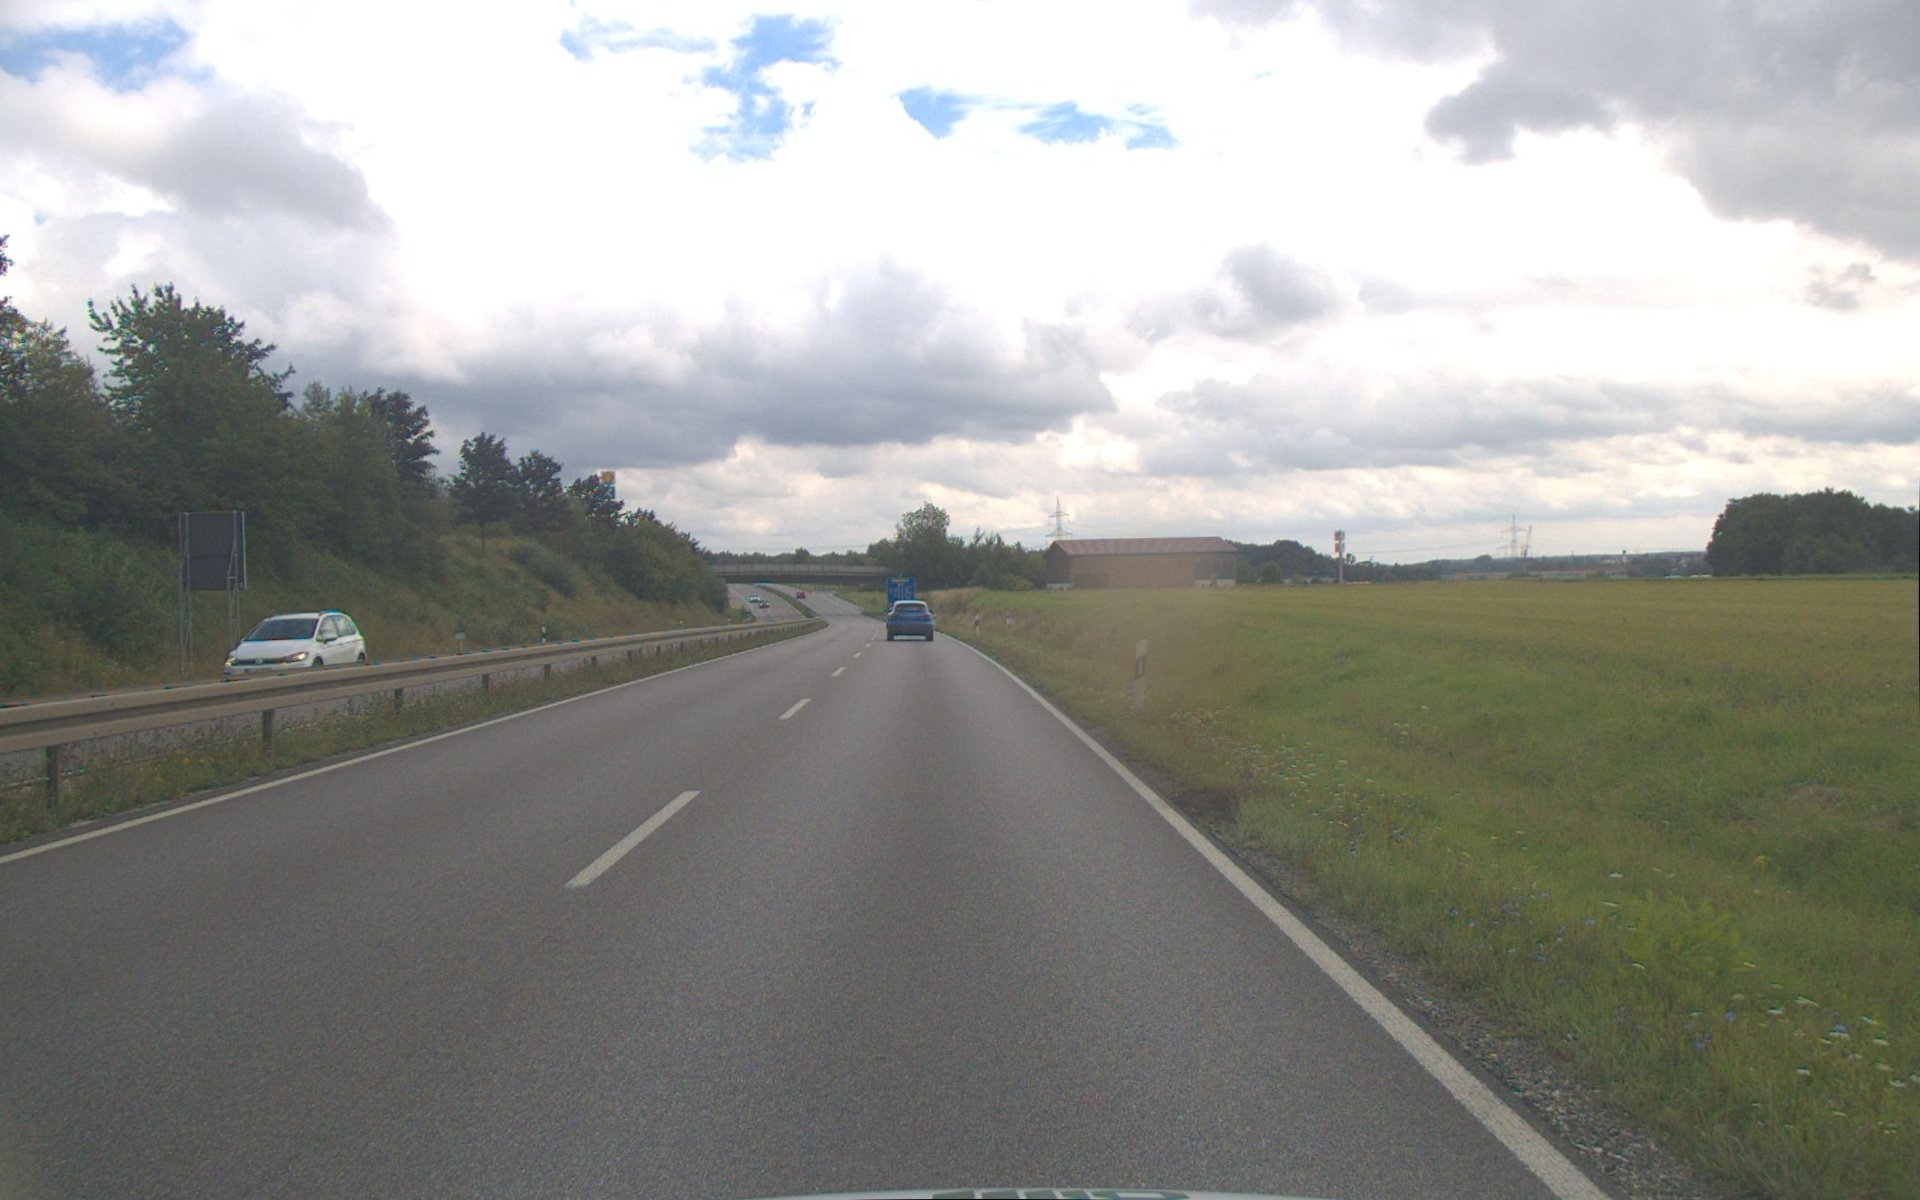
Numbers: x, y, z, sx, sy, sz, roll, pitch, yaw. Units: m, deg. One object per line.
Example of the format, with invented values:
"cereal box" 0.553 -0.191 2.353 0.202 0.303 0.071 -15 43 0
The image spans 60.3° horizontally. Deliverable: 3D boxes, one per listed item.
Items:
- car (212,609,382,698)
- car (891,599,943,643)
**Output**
"car" -13.875 1.063 34.896 1.882 1.544 4.462 -1 2 -2
"car" -1.822 0.827 68.650 1.993 1.689 4.541 0 1 -3
